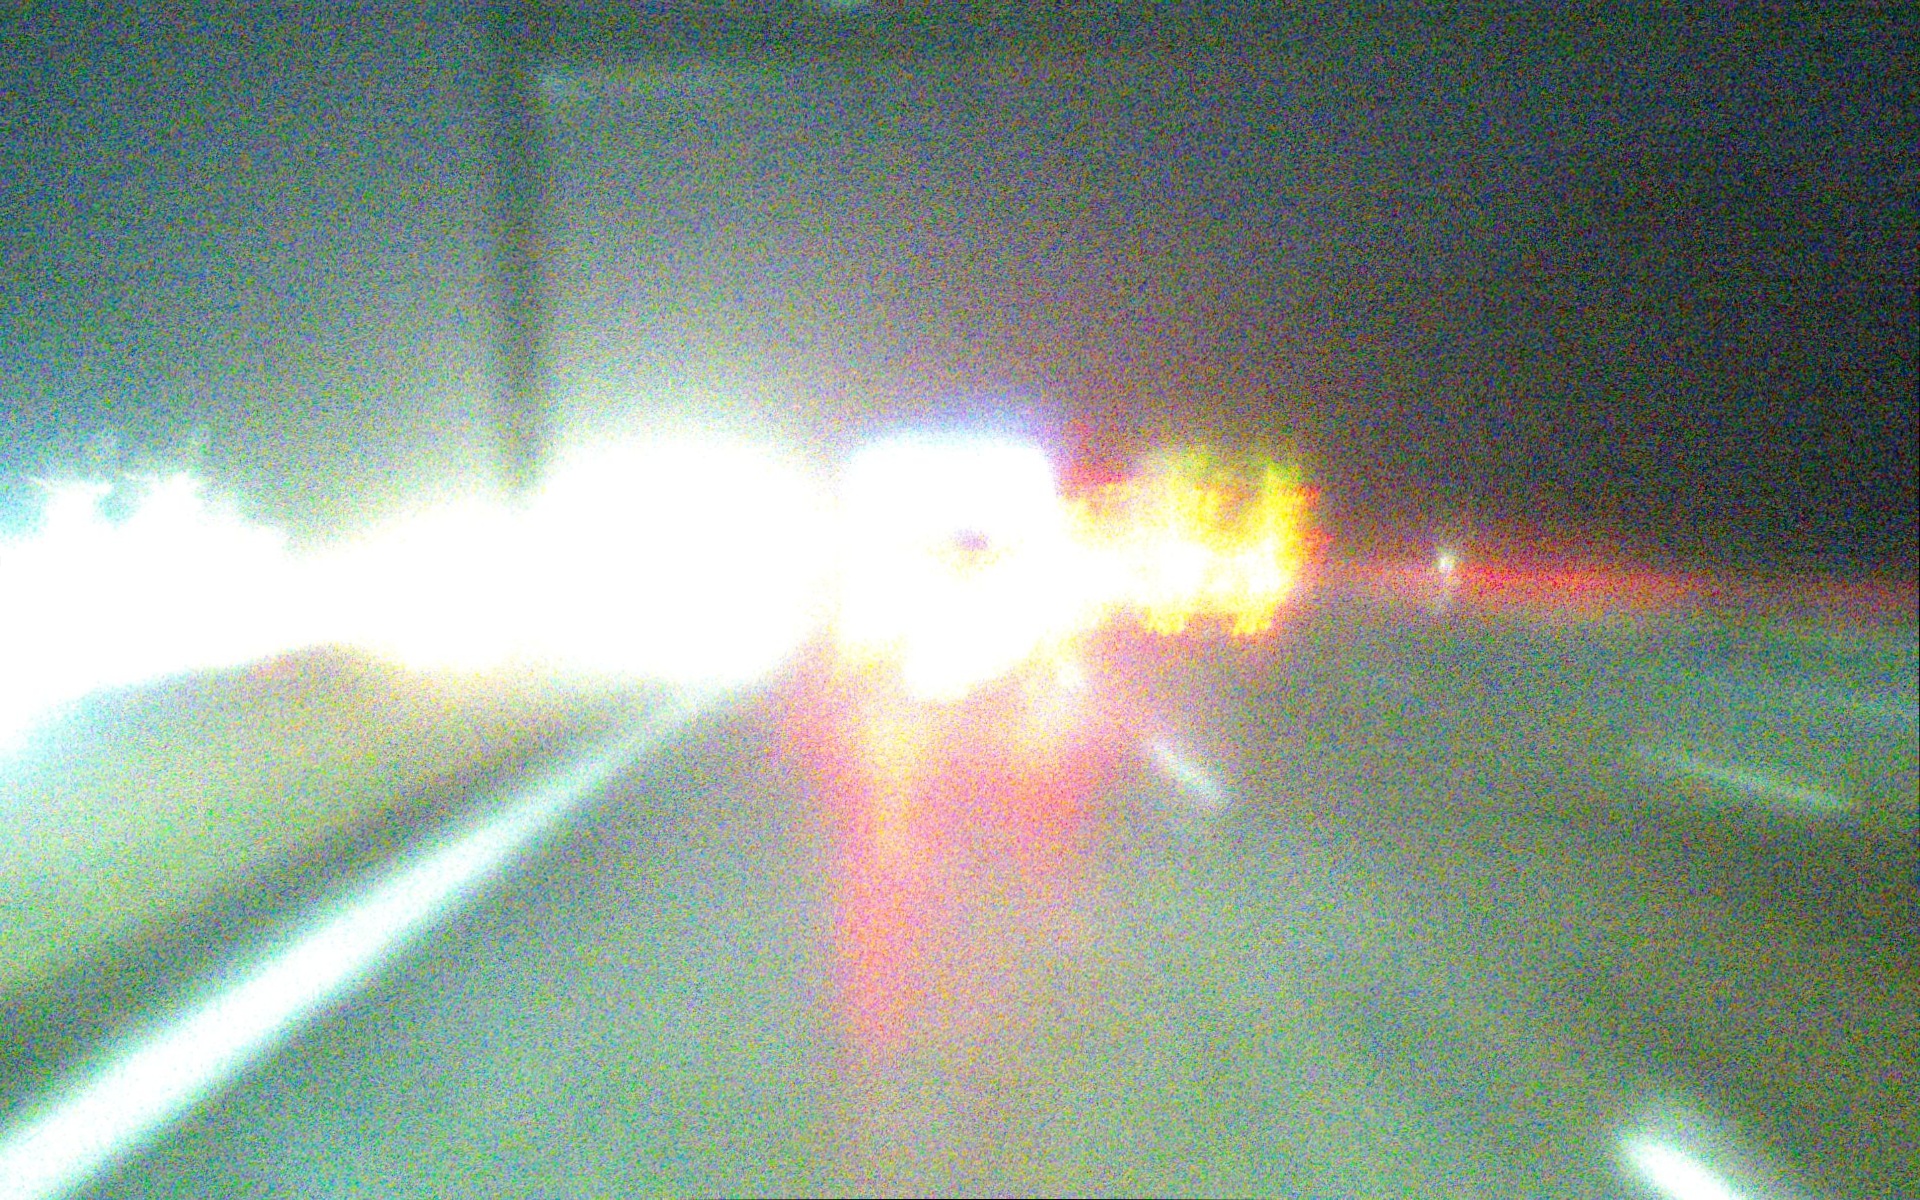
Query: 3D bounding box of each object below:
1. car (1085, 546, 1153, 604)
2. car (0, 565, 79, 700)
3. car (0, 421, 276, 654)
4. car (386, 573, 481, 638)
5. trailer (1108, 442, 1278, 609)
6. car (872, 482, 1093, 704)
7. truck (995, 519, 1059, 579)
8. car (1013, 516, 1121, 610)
[{"bbox_3d":[5.803,-0.917,125.754,1.993,2.007,4.001,-2,0,-4],"label":"car"},{"bbox_3d":[-12.988,0.415,44.353,1.993,1.657,4.809,-1,1,0],"label":"car"},{"bbox_3d":[-18.128,-1.434,75.648,3.705,4.712,10.596,1,2,2],"label":"car"},{"bbox_3d":[-14.284,0.142,93.471,1.916,1.678,4.000,-2,0,0],"label":"car"},{"bbox_3d":[6.159,-1.927,93.433,3.041,4.094,13.830,-2,0,-2],"label":"trailer"},{"bbox_3d":[0.162,-0.075,33.053,1.993,2.007,4.000,0,0,-1],"label":"car"},{"bbox_3d":[3.899,-2.969,202.683,3.037,3.286,11.382,-2,0,-2],"label":"truck"},{"bbox_3d":[2.403,-0.829,78.257,1.993,2.007,4.001,-2,0,-4],"label":"car"}]
